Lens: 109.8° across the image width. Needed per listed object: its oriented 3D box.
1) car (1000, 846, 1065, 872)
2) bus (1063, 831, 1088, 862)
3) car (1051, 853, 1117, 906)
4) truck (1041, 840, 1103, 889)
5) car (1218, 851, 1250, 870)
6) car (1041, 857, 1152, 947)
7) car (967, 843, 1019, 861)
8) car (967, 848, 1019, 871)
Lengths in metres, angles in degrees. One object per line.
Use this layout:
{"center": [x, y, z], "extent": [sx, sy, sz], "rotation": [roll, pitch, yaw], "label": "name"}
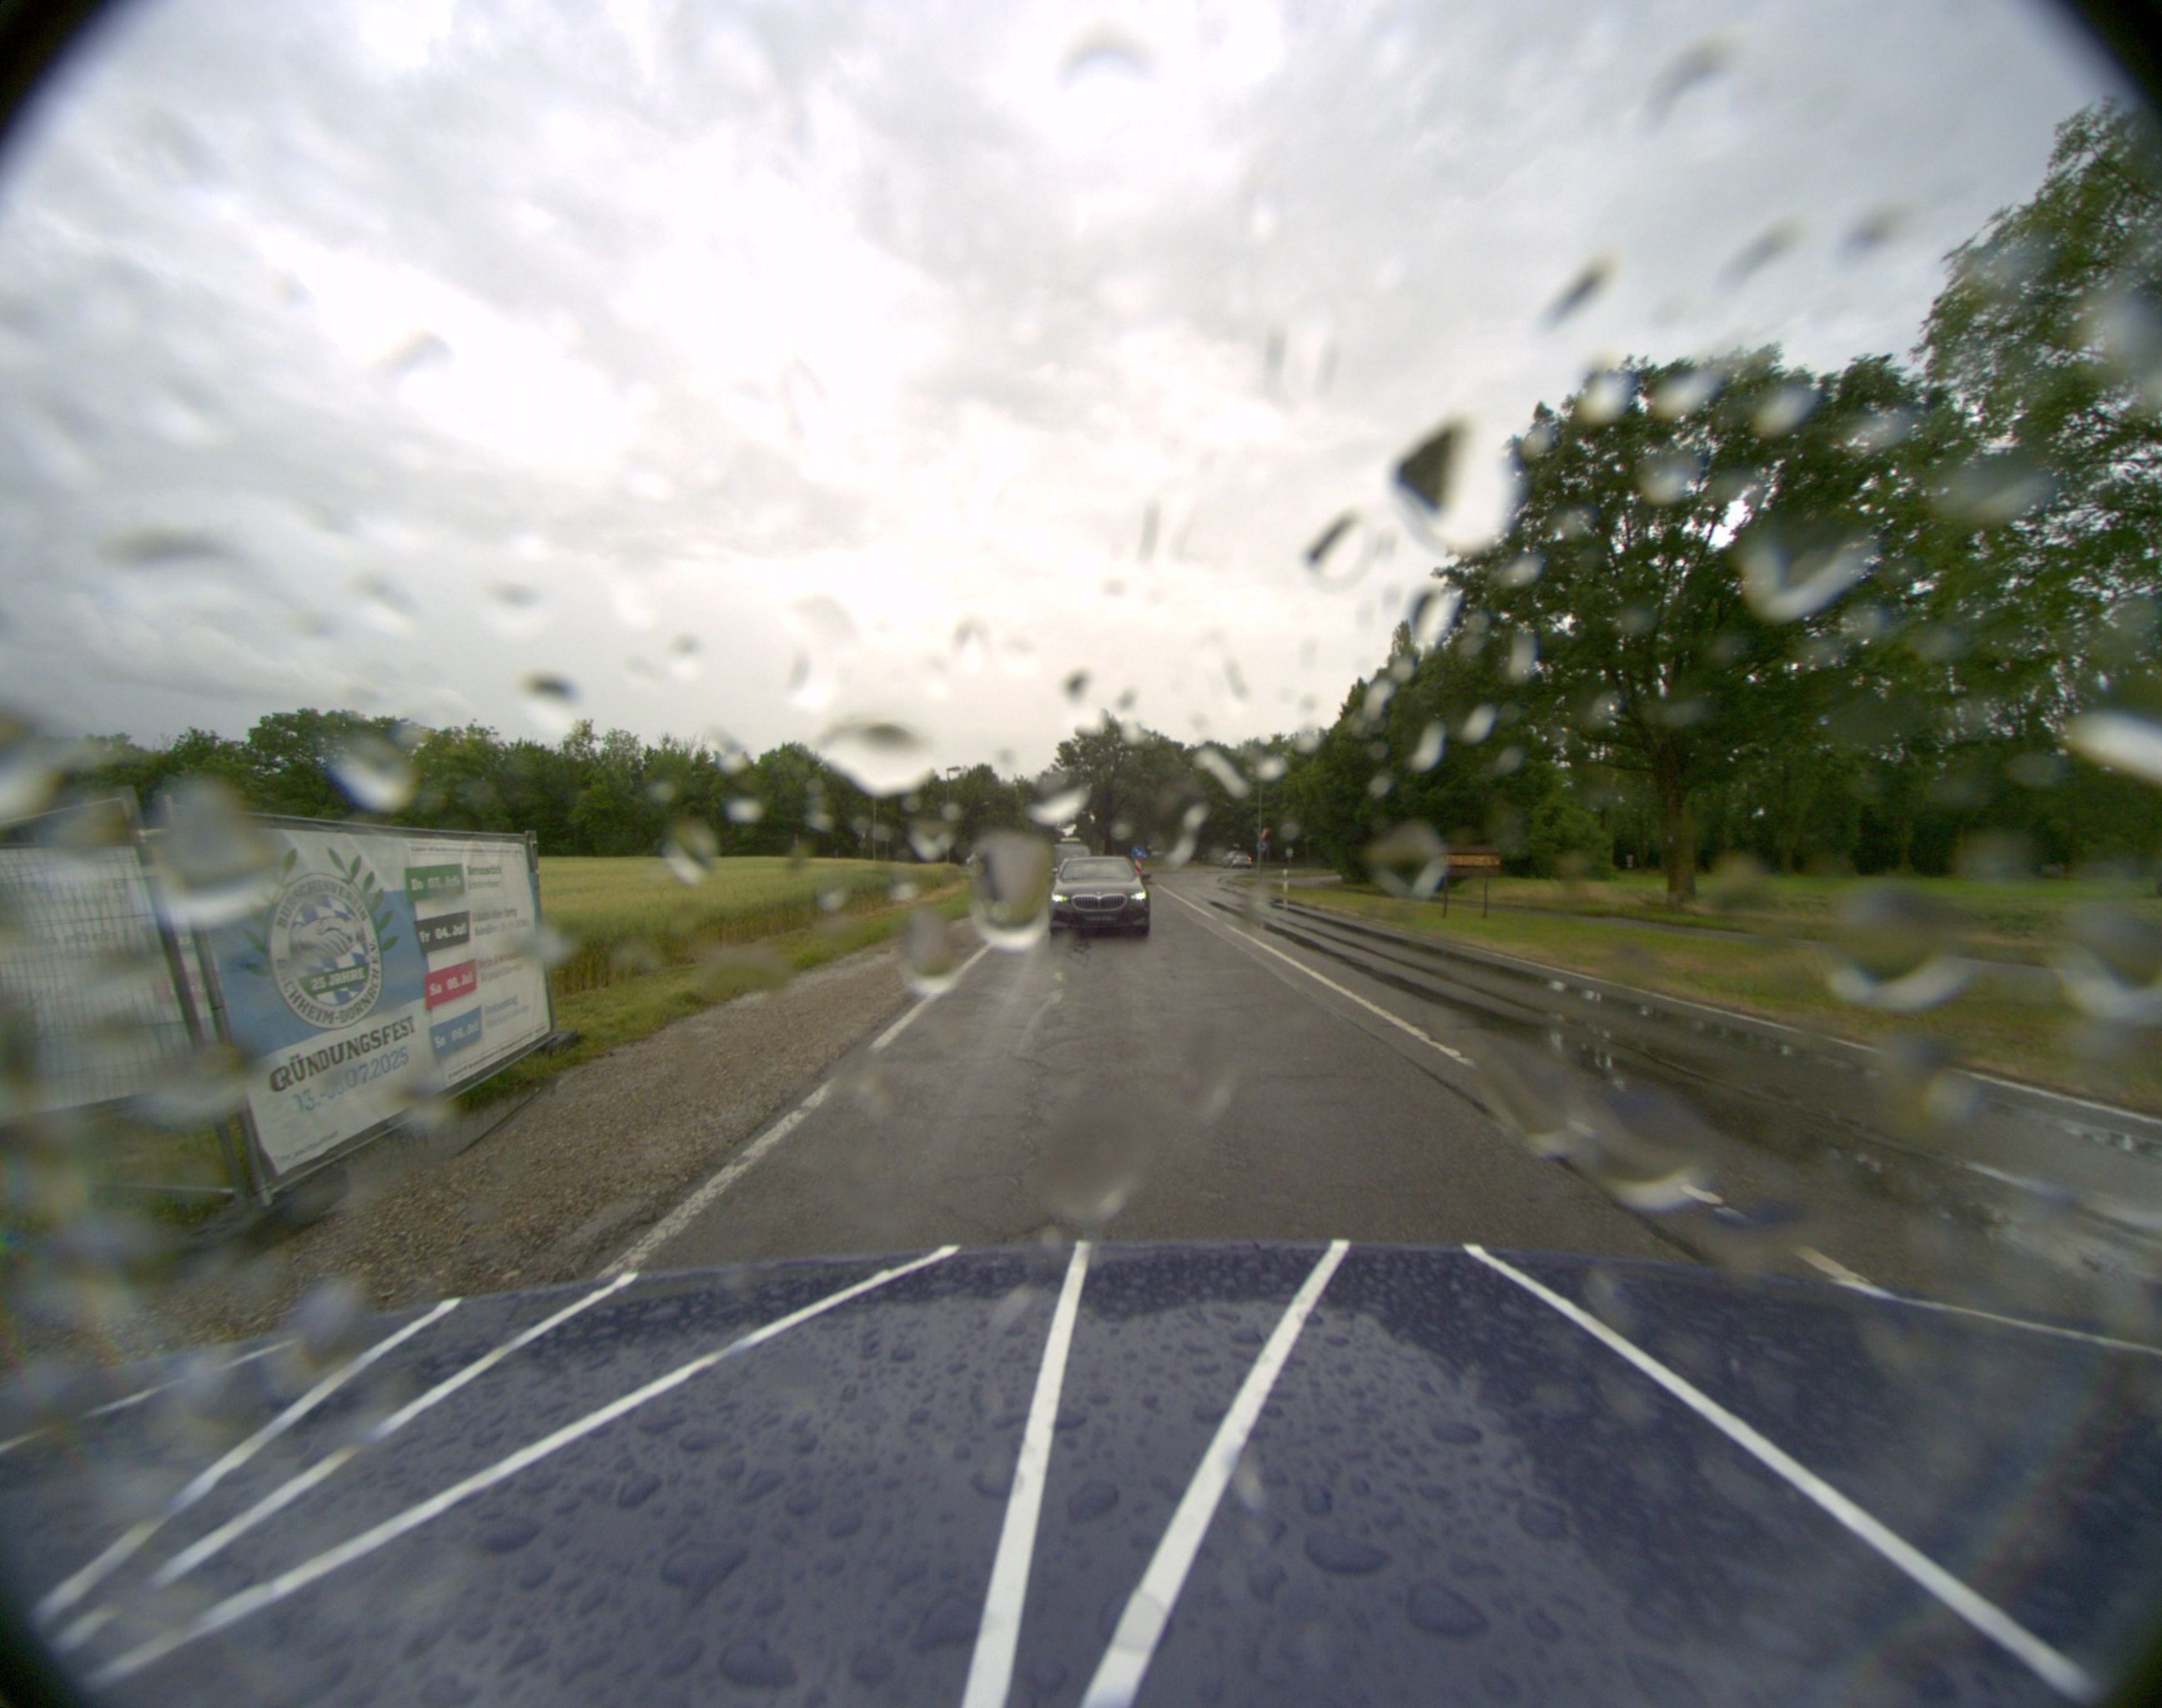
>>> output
{"center": [-3.161, 0.312, 47.968], "extent": [1.896, 1.522, 5.243], "rotation": [-2, 1, -30], "label": "car"}
{"center": [-0.669, -0.959, 99.407], "extent": [2.996, 3.665, 14.293], "rotation": [1, 0, 0], "label": "bus"}
{"center": [0.016, 0.776, 25.415], "extent": [1.892, 1.482, 4.189], "rotation": [-1, 2, -3], "label": "car"}
{"center": [-0.536, 0.409, 37.503], "extent": [2.077, 2.051, 5.762], "rotation": [-3, 3, -10], "label": "truck"}
{"center": [12.894, 0.544, 64.062], "extent": [1.681, 1.490, 3.732], "rotation": [1, 0, -4], "label": "car"}
{"center": [0.264, 0.845, 15.198], "extent": [1.892, 1.484, 4.035], "rotation": [-1, 0, 0], "label": "car"}
{"center": [-7.974, -0.213, 69.031], "extent": [4.511, 1.522, 1.888], "rotation": [-2, 1, -45], "label": "car"}
{"center": [-6.222, 0.357, 53.179], "extent": [1.896, 1.522, 4.491], "rotation": [-2, 1, -30], "label": "car"}
